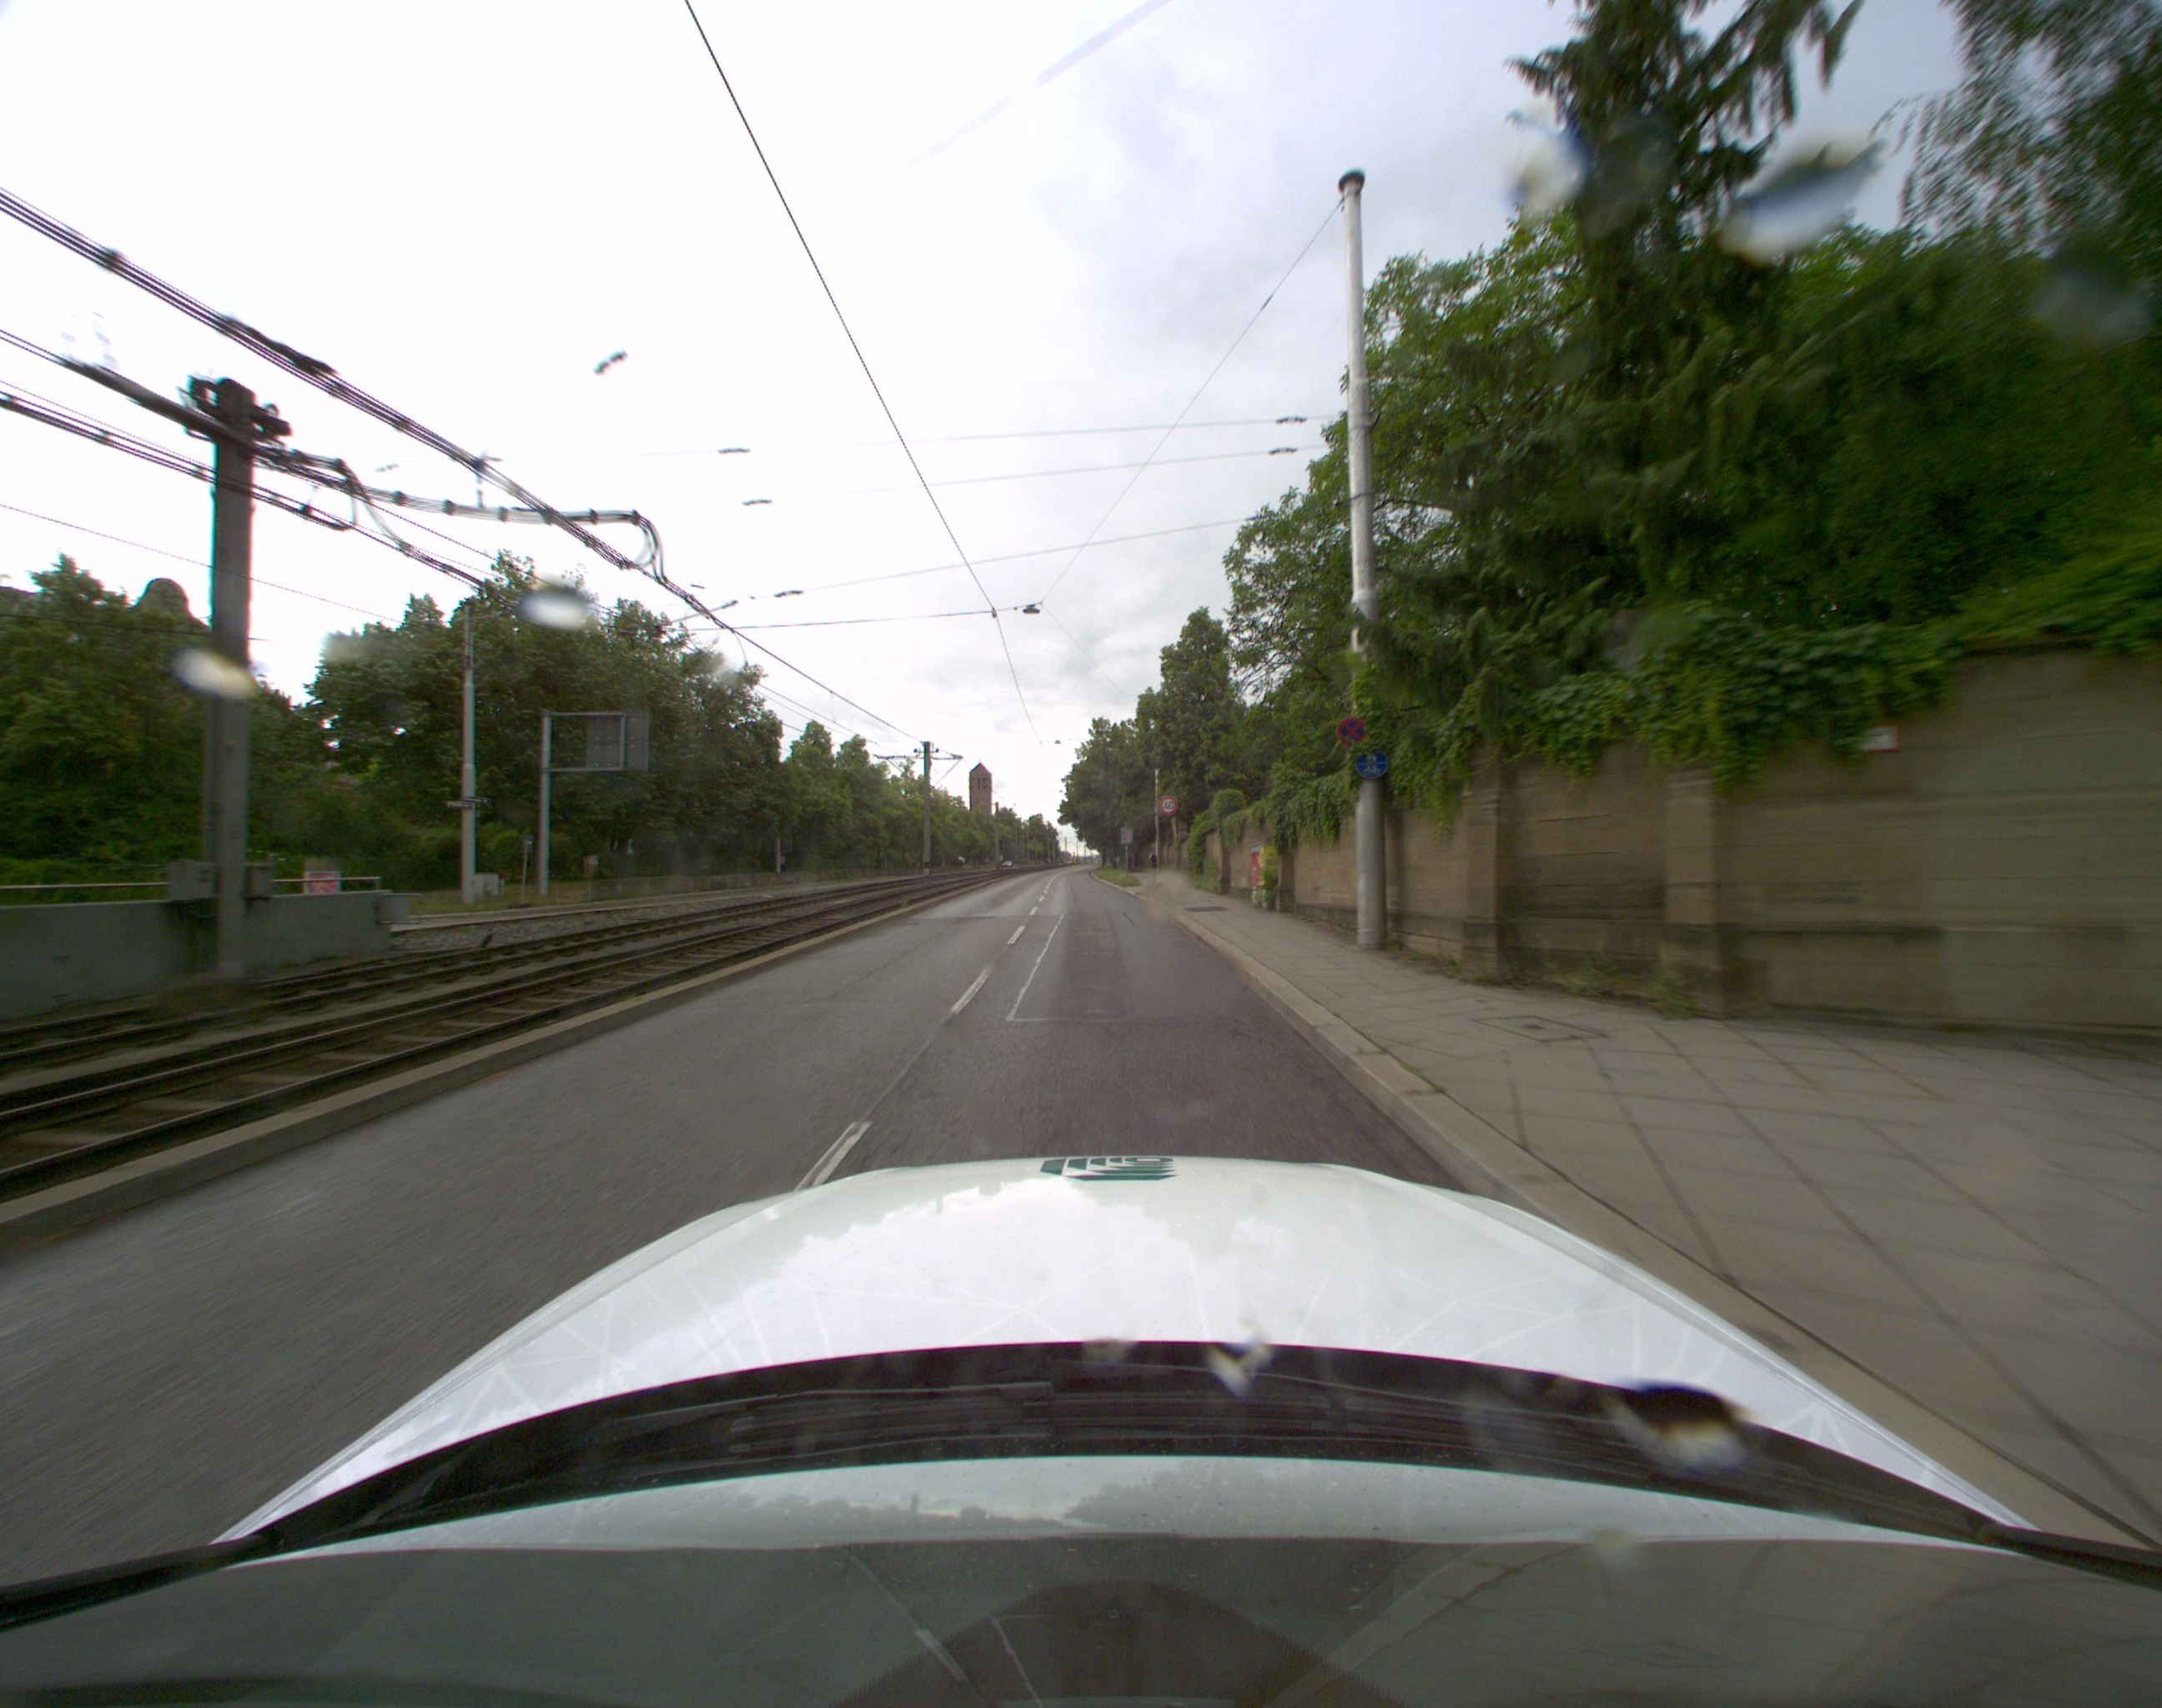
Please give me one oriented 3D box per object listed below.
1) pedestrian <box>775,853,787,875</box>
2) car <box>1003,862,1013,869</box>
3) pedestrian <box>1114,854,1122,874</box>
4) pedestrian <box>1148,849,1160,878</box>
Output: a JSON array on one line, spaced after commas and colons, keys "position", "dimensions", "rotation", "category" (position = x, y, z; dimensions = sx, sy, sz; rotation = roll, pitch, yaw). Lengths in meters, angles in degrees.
[{"position": [-23.901, 0.785, 64.912], "dimensions": [0.645, 1.661, 0.650], "rotation": [-3, 0, 1], "category": "pedestrian"}, {"position": [-16.397, 2.646, 183.907], "dimensions": [1.788, 1.510, 3.849], "rotation": [-1, 0, 1], "category": "car"}, {"position": [3.137, 0.832, 69.303], "dimensions": [0.717, 1.687, 0.729], "rotation": [0, -1, 1], "category": "pedestrian"}, {"position": [4.636, 0.615, 51.822], "dimensions": [0.717, 1.850, 0.783], "rotation": [0, -1, 1], "category": "pedestrian"}]
